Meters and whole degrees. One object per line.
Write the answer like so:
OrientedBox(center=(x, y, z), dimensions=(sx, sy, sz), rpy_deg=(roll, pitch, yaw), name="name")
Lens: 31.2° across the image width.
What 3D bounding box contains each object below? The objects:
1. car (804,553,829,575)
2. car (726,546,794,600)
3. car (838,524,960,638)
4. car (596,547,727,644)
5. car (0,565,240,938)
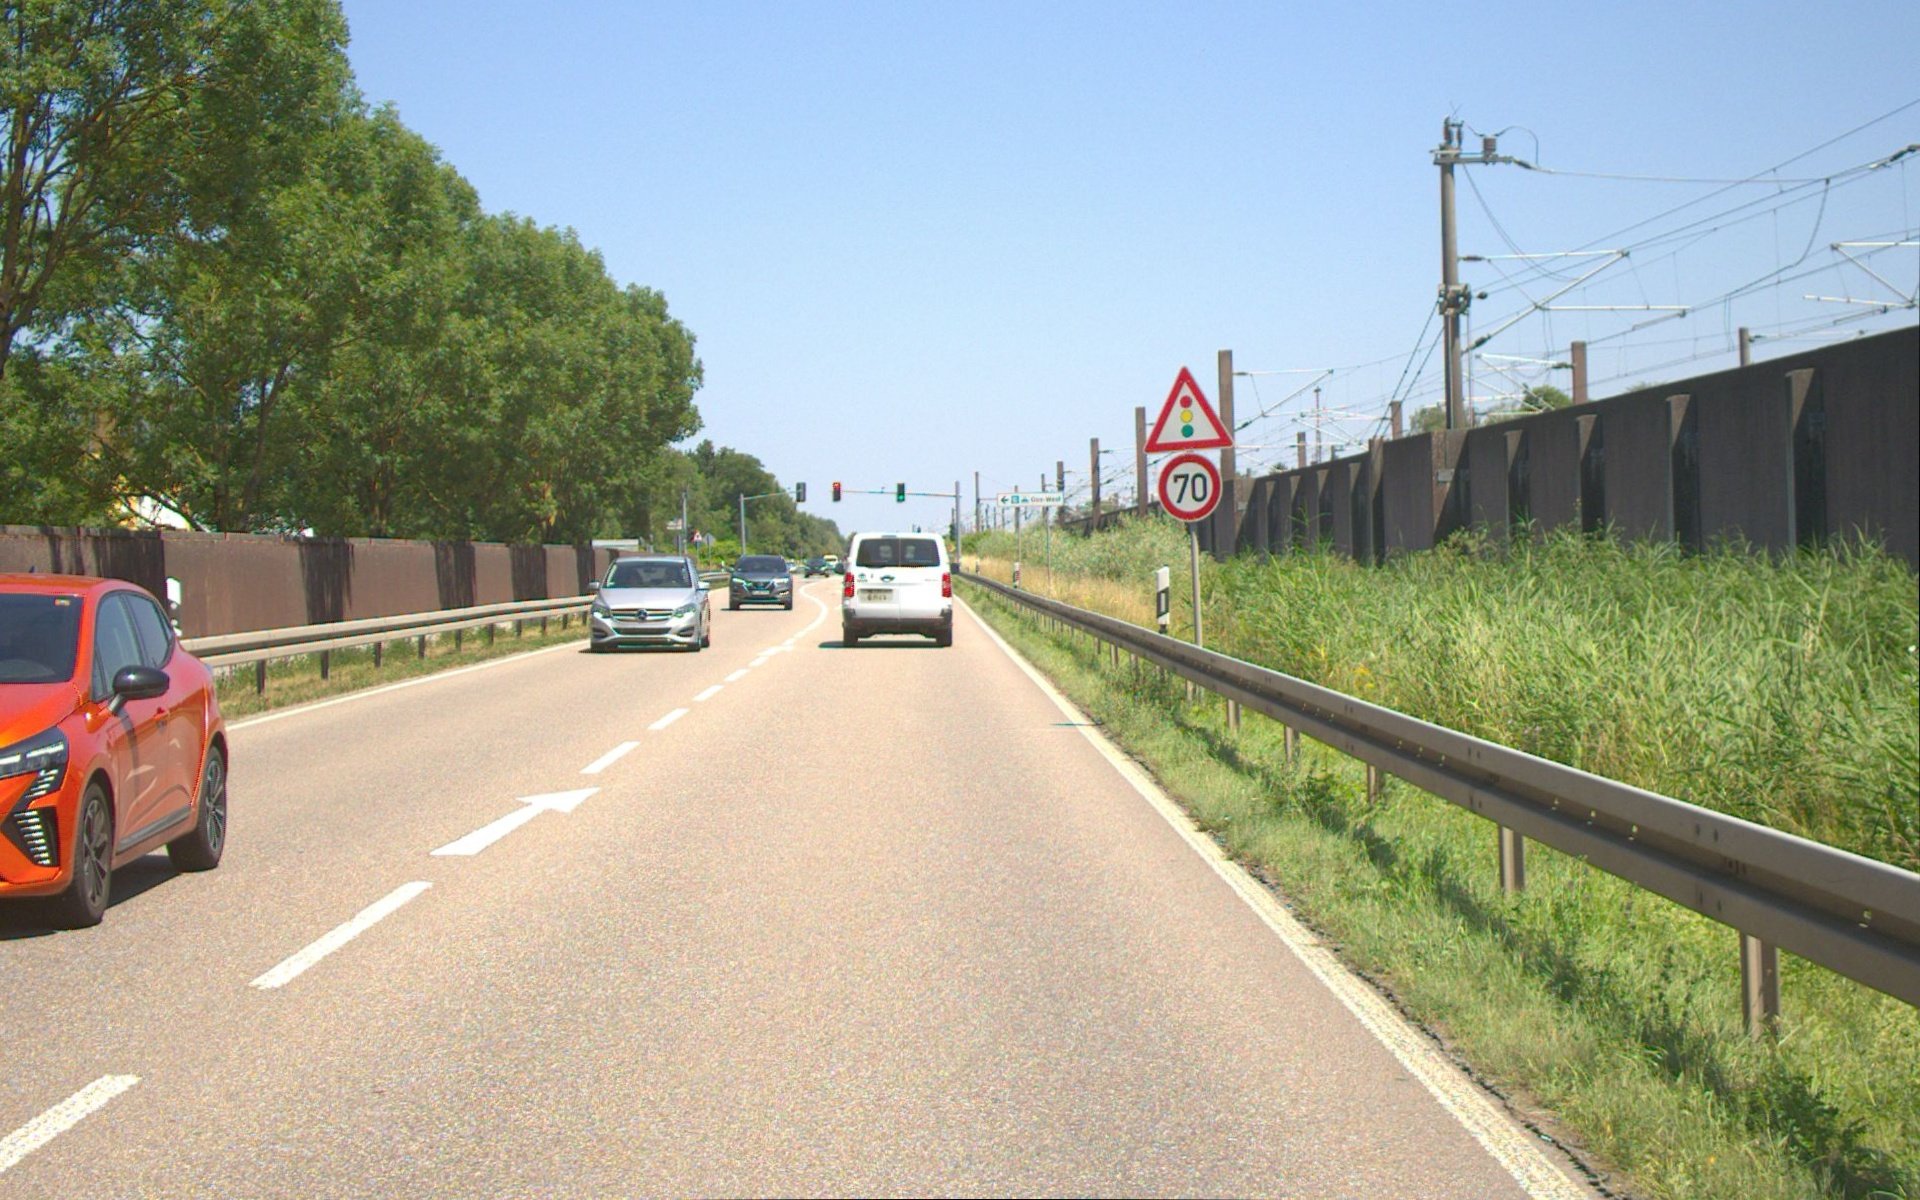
OrientedBox(center=(-10.831, -2.716, 259.694), dimensions=(1.819, 1.590, 4.001), rpy_deg=(1, 1, -2), name="car")
OrientedBox(center=(-5.762, -0.791, 99.406), dimensions=(1.789, 1.520, 4.390), rpy_deg=(0, 1, -1), name="car")
OrientedBox(center=(-1.028, -0.346, 58.625), dimensions=(1.993, 1.843, 4.000), rpy_deg=(1, 1, -1), name="car")
OrientedBox(center=(-4.873, -0.102, 56.567), dimensions=(1.789, 1.520, 4.390), rpy_deg=(0, 1, 0), name="car")
OrientedBox(center=(-4.409, 0.568, 15.229), dimensions=(1.789, 1.417, 4.001), rpy_deg=(0, 1, -3), name="car")
